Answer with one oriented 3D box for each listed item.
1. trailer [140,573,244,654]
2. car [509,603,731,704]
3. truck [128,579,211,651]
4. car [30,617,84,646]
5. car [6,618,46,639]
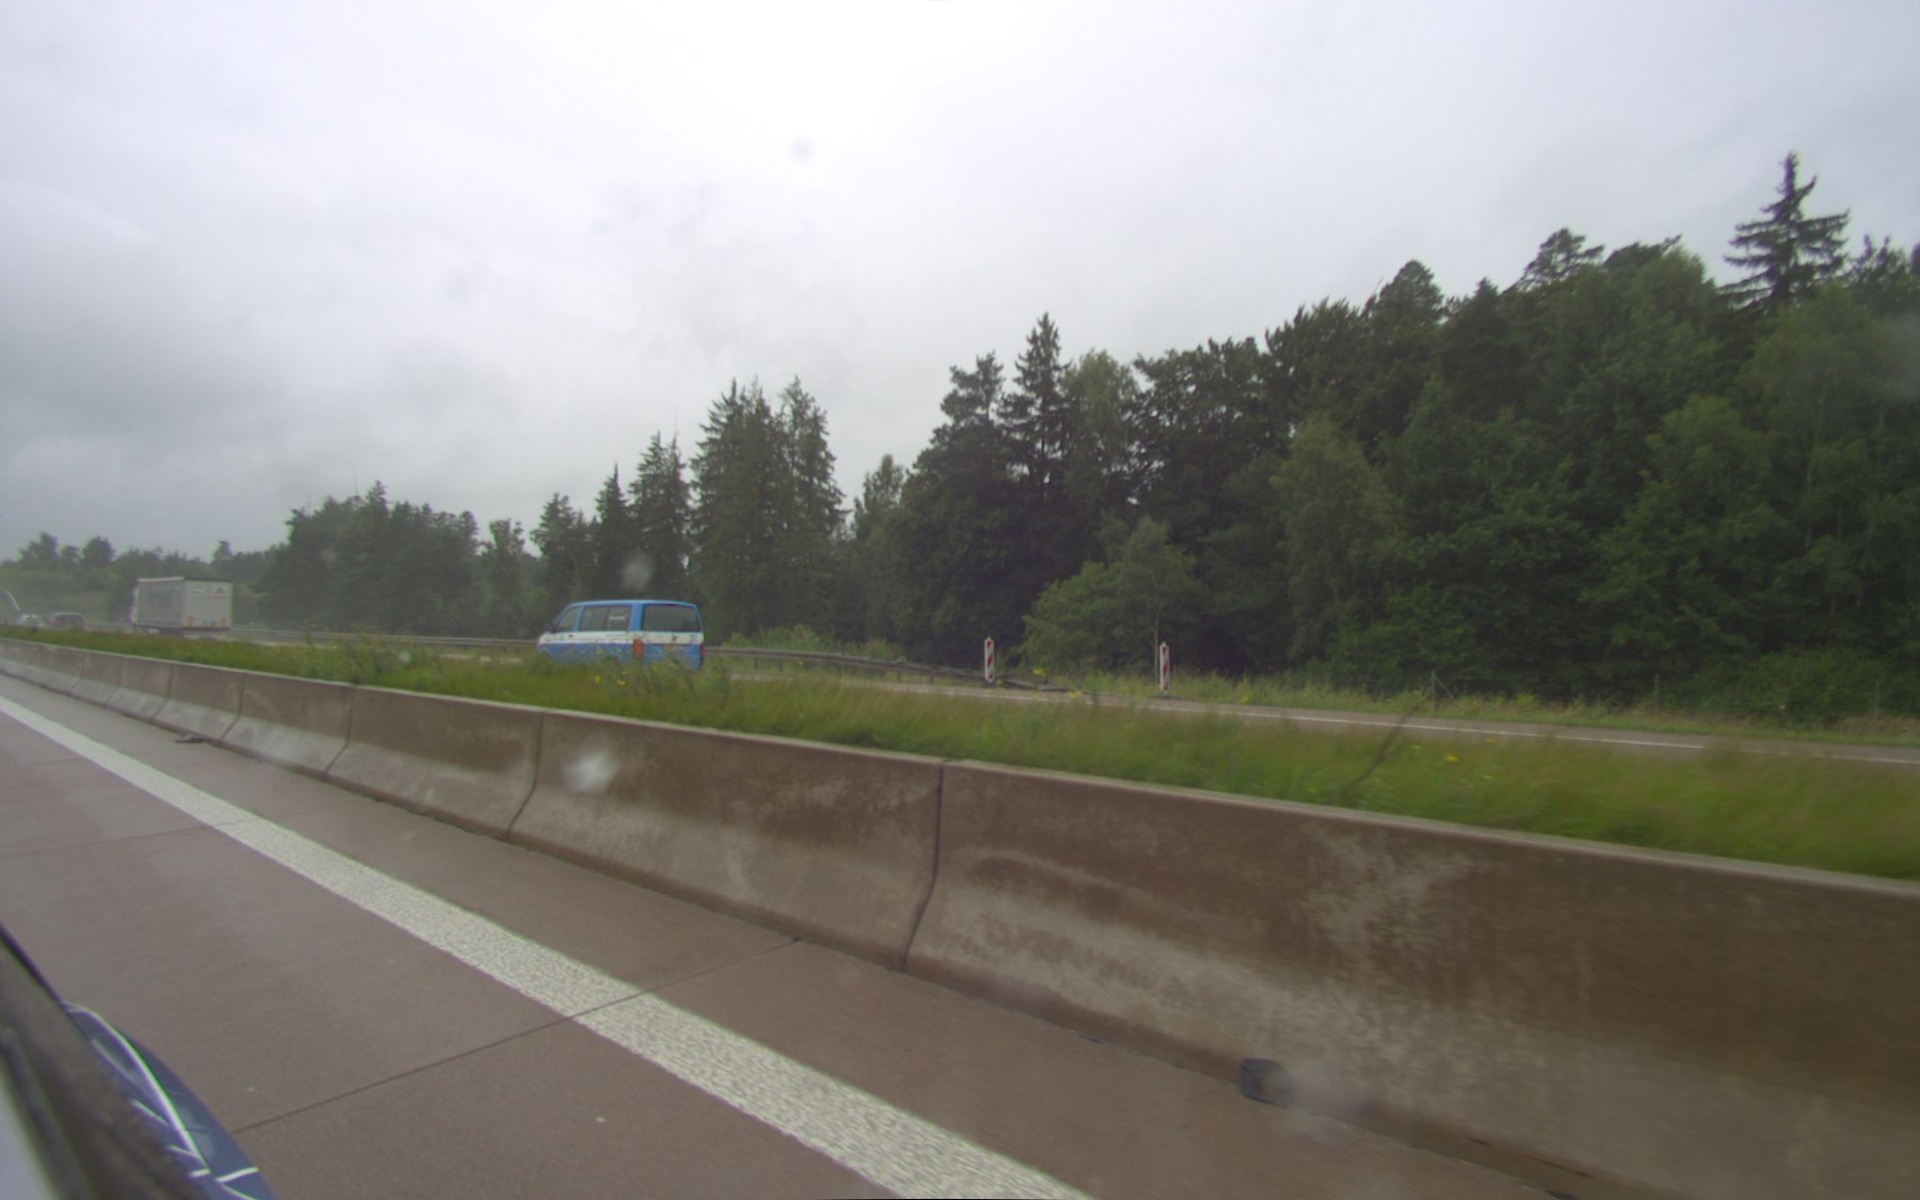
[{"bbox_3d":[-52.084,0.912,68.418,13.687,4.990,3.712,-1,0,45],"label":"trailer"},{"bbox_3d":[-7.901,1.132,23.199,5.659,2.029,2.283,-1,-1,41],"label":"car"},{"bbox_3d":[-56.678,1.001,72.513,7.256,4.907,3.639,0,0,44],"label":"truck"},{"bbox_3d":[-65.833,2.255,73.727,5.149,2.029,2.283,-1,-1,41],"label":"car"},{"bbox_3d":[-91.478,2.764,99.101,5.752,1.993,2.283,-1,-1,41],"label":"car"}]
